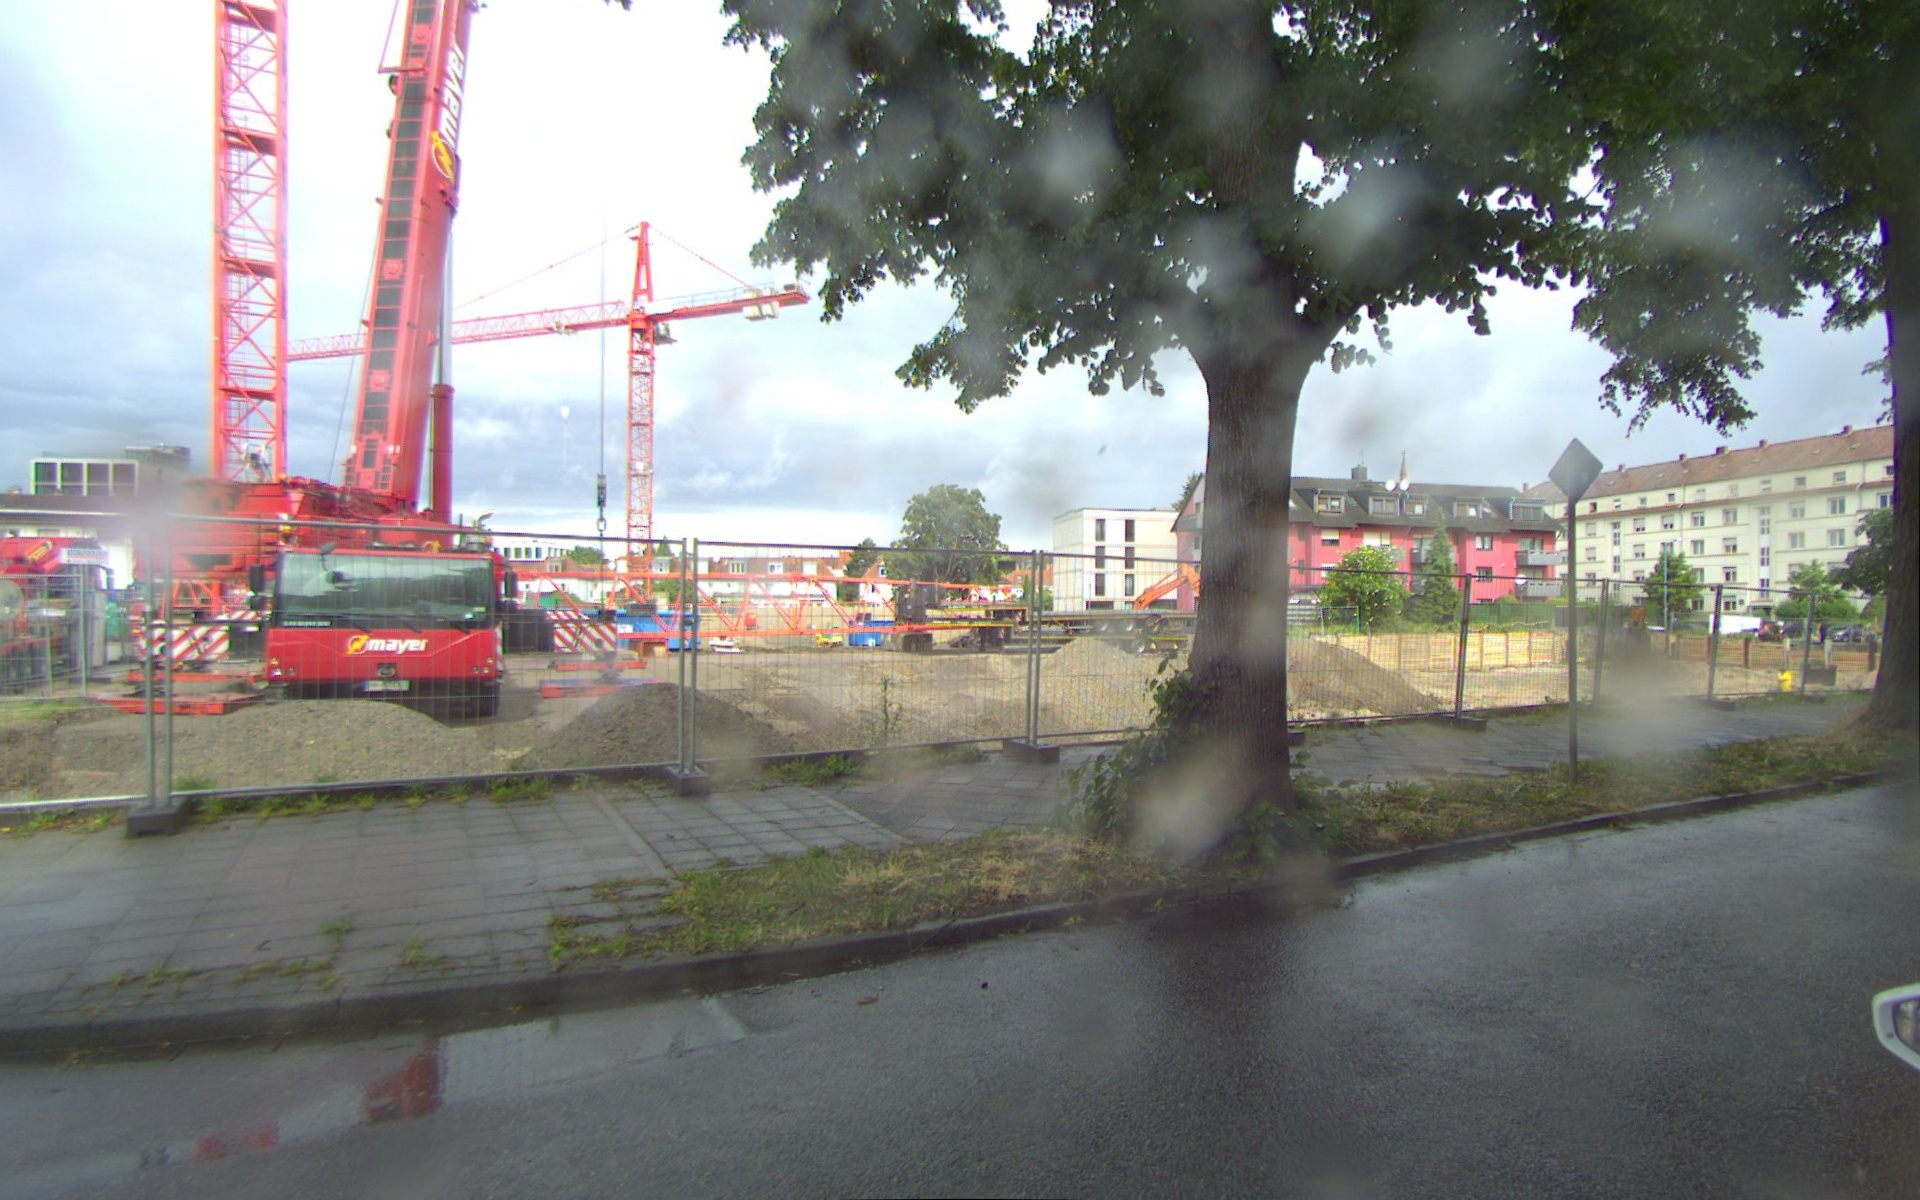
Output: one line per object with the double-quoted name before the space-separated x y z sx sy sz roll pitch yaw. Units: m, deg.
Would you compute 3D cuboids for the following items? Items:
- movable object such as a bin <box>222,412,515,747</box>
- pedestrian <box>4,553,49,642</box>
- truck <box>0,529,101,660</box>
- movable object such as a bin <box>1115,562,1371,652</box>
"movable object such as a bin" -9.914 -0.247 17.666 3.323 4.170 9.776 0 0 -27
"pedestrian" -21.756 -0.042 23.422 0.681 2.039 0.487 1 -4 -37
"truck" -25.797 -0.245 27.482 2.323 3.237 6.958 1 1 -31
"movable object such as a bin" 20.109 0.461 72.548 16.428 6.125 6.885 0 0 -6
